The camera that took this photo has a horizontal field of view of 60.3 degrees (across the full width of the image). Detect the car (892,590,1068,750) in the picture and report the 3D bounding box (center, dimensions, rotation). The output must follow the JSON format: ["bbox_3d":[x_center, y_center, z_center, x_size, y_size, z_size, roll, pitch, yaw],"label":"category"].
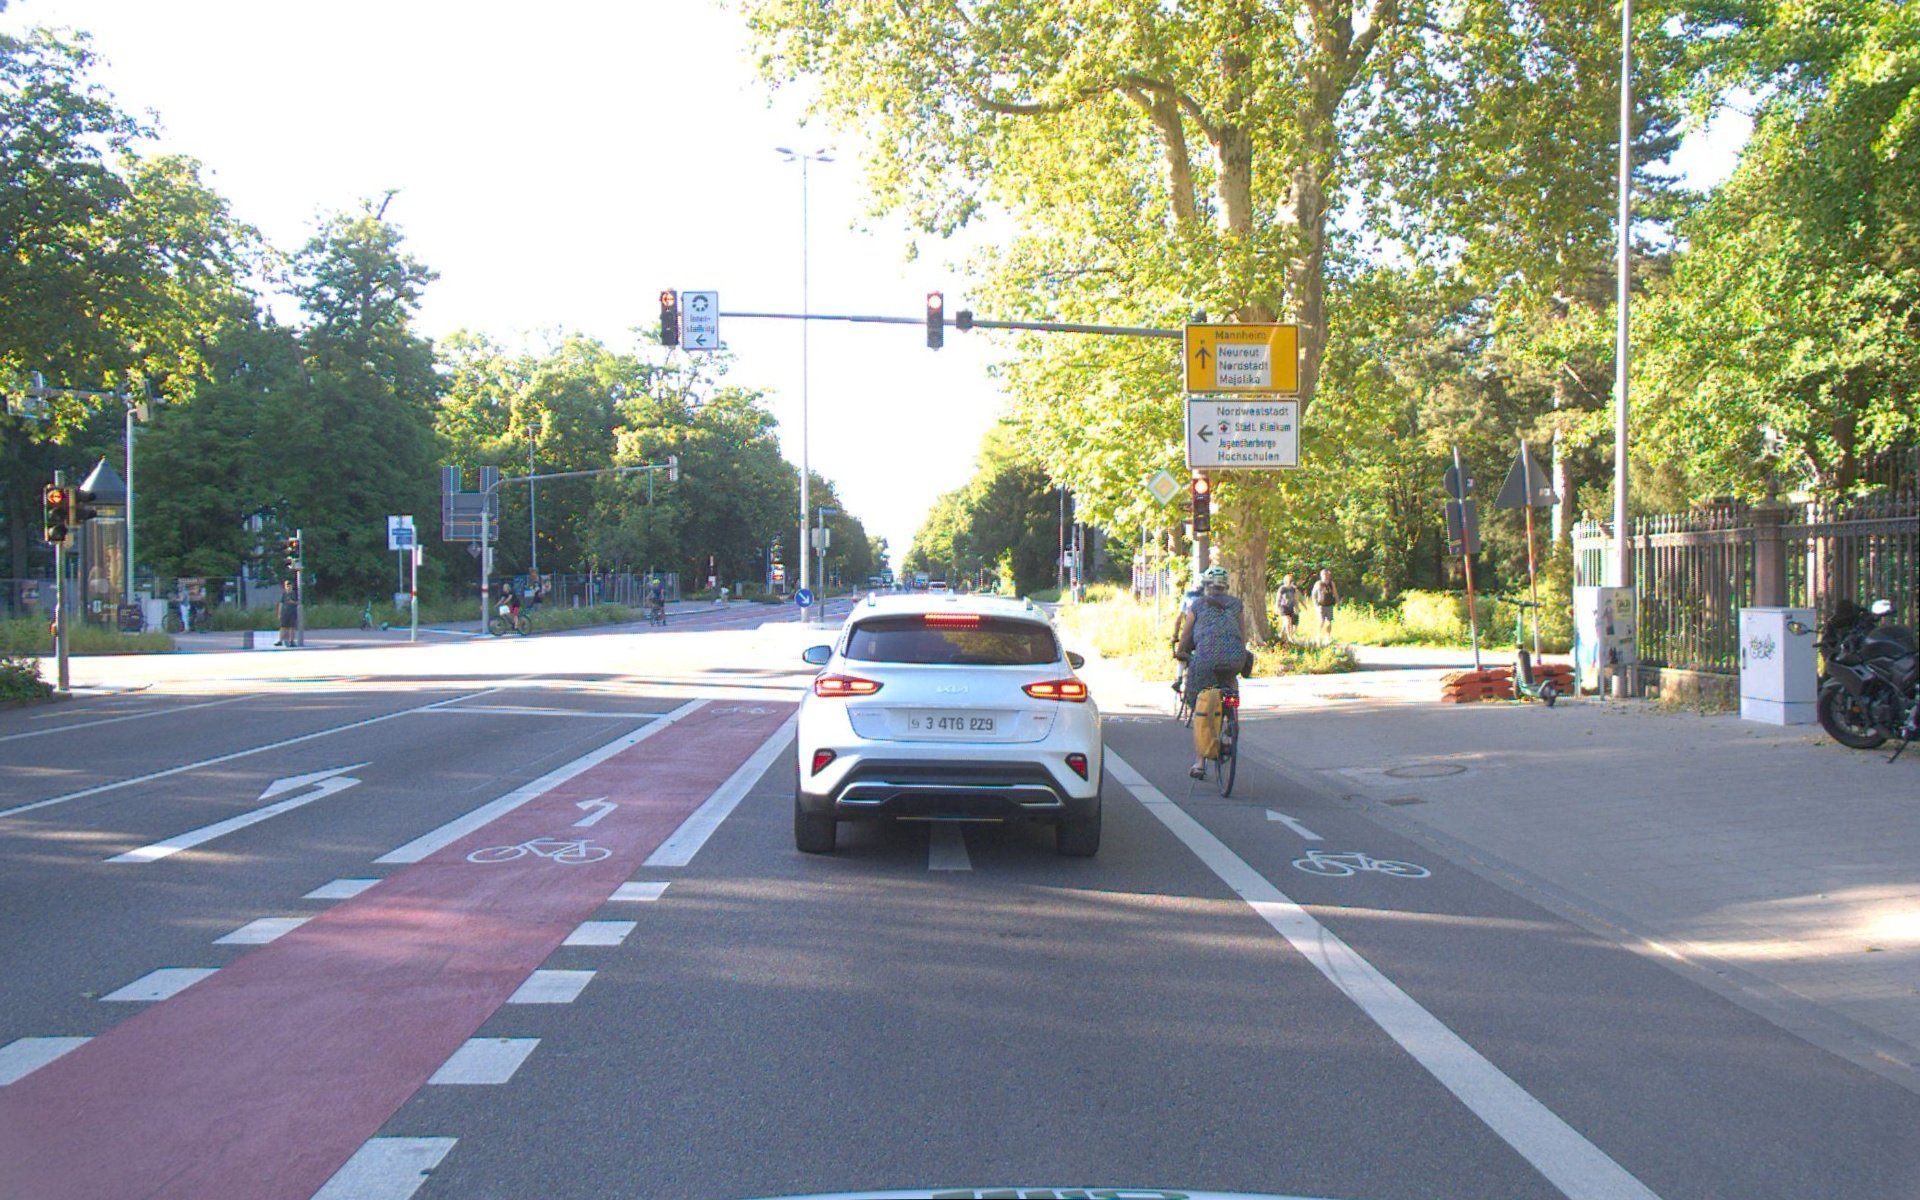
[{"bbox_3d":[0.129,0.672,17.848,1.694,1.509,3.515,-1,1,-2],"label":"car"}]

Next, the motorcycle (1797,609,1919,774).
[{"bbox_3d":[7.043,0.656,12.247,0.495,1.151,2.170,-2,0,-2],"label":"motorcycle"}]

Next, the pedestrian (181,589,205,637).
[{"bbox_3d":[-26.016,0.451,56.118,0.617,1.608,0.444,1,0,-10],"label":"pedestrian"}]

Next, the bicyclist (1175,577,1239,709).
[{"bbox_3d":[2.909,0.494,19.541,0.543,1.504,0.716,-3,0,-2],"label":"bicyclist"}]

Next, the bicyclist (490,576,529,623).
[{"bbox_3d":[-15.735,-0.019,57.756,0.857,1.634,0.977,-1,0,24],"label":"bicyclist"}]

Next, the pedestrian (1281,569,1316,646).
[{"bbox_3d":[8.111,0.178,39.642,0.604,1.802,0.646,-1,0,-8],"label":"pedestrian"}]

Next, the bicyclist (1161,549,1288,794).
[{"bbox_3d":[2.062,0.532,13.034,0.738,1.827,1.164,2,0,-2],"label":"bicyclist"}]

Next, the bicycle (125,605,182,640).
[{"bbox_3d":[-27.716,0.759,56.819,1.822,1.168,0.443,1,0,9],"label":"bicycle"}]

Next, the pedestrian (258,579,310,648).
[{"bbox_3d":[-20.367,0.401,49.842,0.974,2.049,1.191,1,0,4],"label":"pedestrian"}]

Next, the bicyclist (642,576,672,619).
[{"bbox_3d":[-11.646,-0.100,63.555,0.857,1.636,1.188,-1,0,1],"label":"bicyclist"}]

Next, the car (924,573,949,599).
[{"bbox_3d":[-1.839,-1.109,130.744,1.953,2.049,4.000,-1,1,-1],"label":"car"}]

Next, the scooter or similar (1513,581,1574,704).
[{"bbox_3d":[6.617,0.460,18.786,0.223,1.350,1.171,-1,0,-2],"label":"scooter or similar"}]

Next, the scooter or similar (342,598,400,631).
[{"bbox_3d":[-20.855,0.510,58.591,0.697,1.144,1.916,0,0,32],"label":"scooter or similar"}]

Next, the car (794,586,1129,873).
[{"bbox_3d":[-0.055,0.674,10.776,1.784,1.506,3.935,0,1,-2],"label":"car"}]

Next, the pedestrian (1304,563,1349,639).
[{"bbox_3d":[8.848,0.015,39.968,0.802,1.802,0.831,-1,0,-8],"label":"pedestrian"}]

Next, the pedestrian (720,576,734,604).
[{"bbox_3d":[-15.230,-0.661,108.070,0.769,1.817,0.751,1,0,0],"label":"pedestrian"}]

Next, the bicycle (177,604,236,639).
[{"bbox_3d":[-25.804,0.746,56.634,1.826,1.168,0.290,1,0,-8],"label":"bicycle"}]

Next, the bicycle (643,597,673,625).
[{"bbox_3d":[-11.631,0.402,63.754,0.650,1.006,2.505,-1,1,2],"label":"bicycle"}]

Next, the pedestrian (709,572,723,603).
[{"bbox_3d":[-15.886,-0.814,107.697,0.627,2.049,0.754,1,0,10],"label":"pedestrian"}]

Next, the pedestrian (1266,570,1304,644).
[{"bbox_3d":[7.707,0.165,39.231,0.676,1.729,0.643,-1,0,-7],"label":"pedestrian"}]

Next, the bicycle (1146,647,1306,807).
[{"bbox_3d":[2.048,0.945,13.115,0.742,1.031,2.568,2,1,-2],"label":"bicycle"}]

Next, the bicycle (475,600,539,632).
[{"bbox_3d":[-15.768,0.550,57.657,0.568,1.006,2.714,-1,1,24],"label":"bicycle"}]

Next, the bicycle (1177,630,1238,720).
[{"bbox_3d":[2.927,0.869,19.636,0.393,0.973,1.550,-3,0,-2],"label":"bicycle"}]
